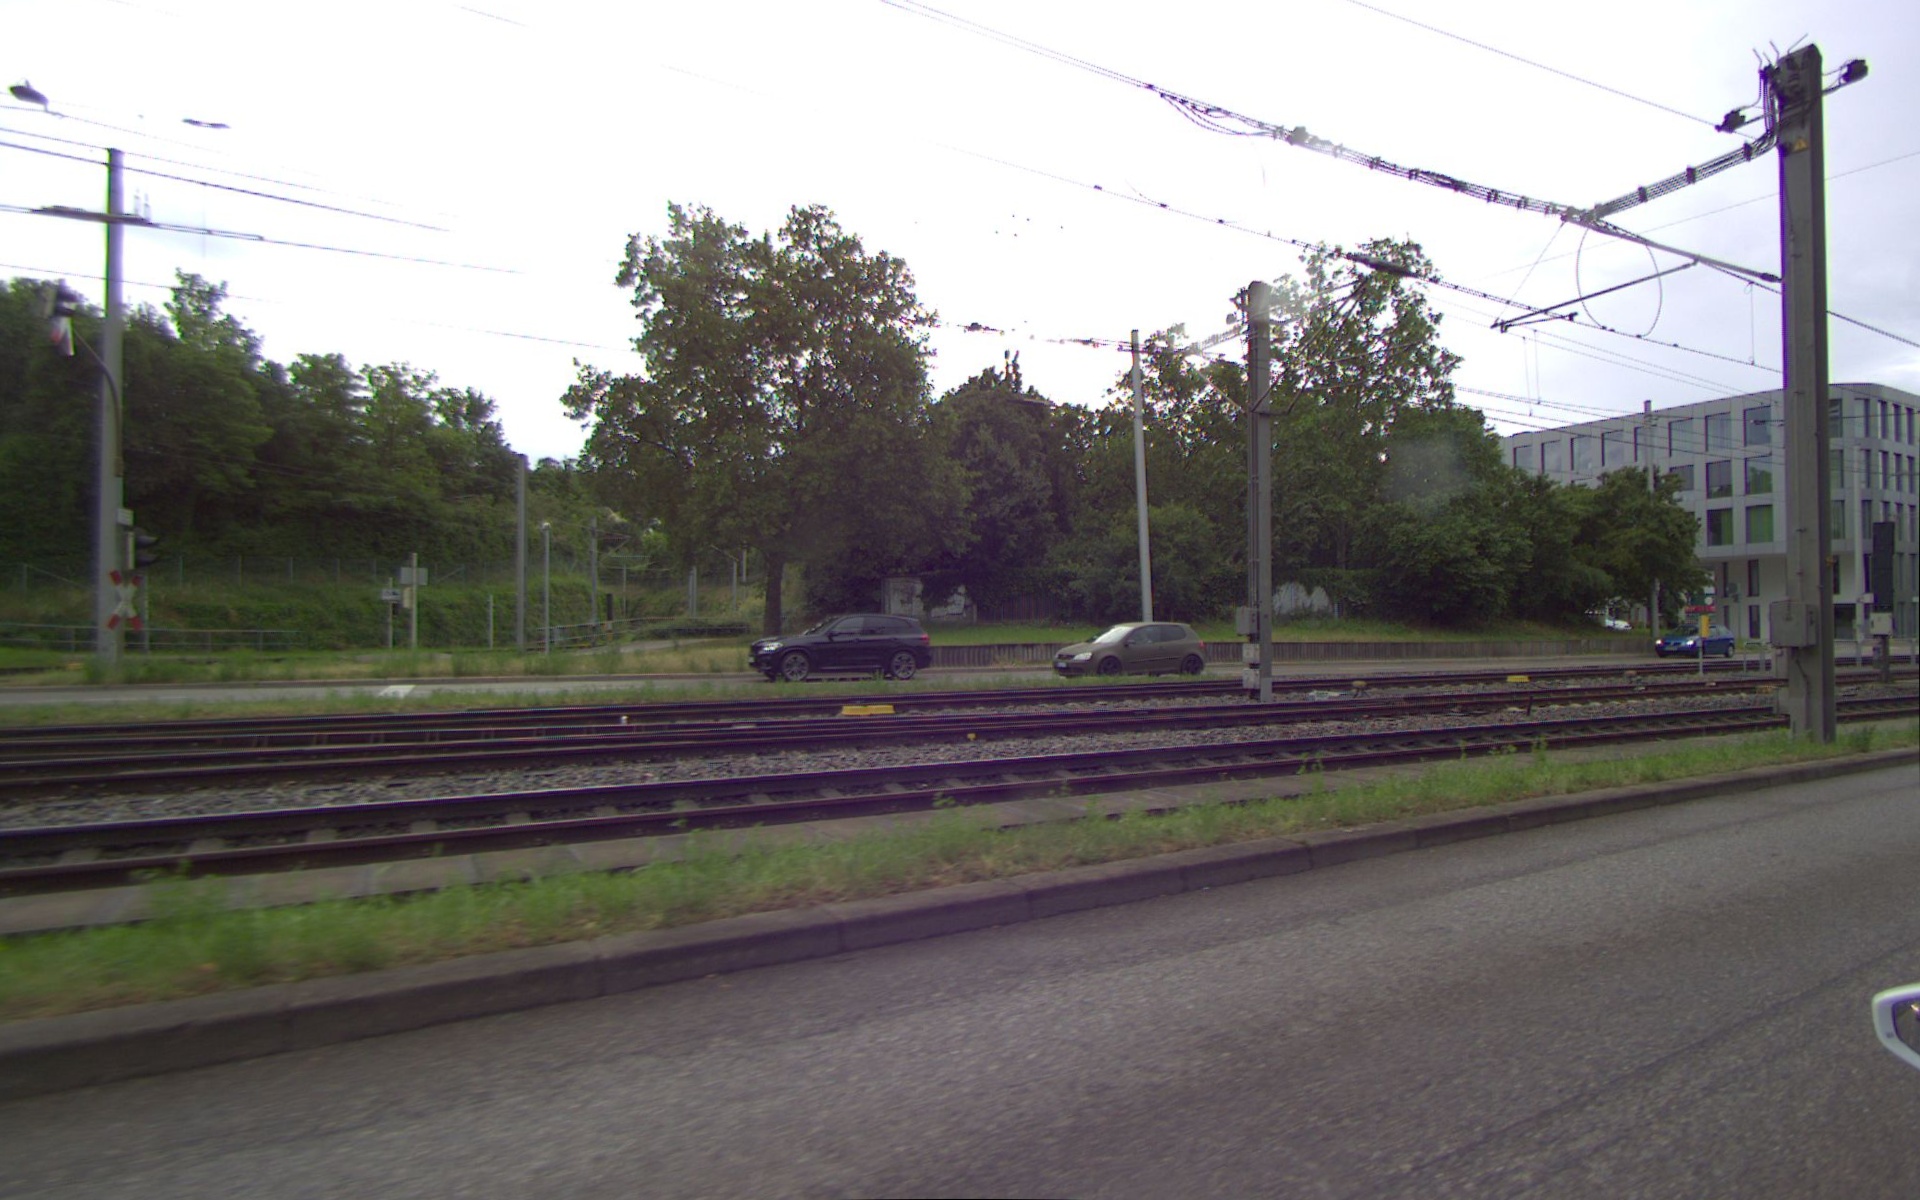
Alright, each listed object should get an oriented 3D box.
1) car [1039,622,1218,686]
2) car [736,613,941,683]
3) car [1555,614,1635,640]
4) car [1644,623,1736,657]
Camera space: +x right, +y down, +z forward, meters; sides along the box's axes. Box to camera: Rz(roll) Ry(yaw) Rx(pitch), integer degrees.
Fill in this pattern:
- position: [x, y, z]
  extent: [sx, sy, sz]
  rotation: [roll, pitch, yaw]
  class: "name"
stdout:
- position: [4.308, 1.331, 25.657]
  extent: [4.253, 1.506, 1.884]
  rotation: [1, -2, -28]
  class: "car"
- position: [-3.033, 1.174, 25.349]
  extent: [4.788, 1.616, 1.939]
  rotation: [1, -2, -29]
  class: "car"
- position: [40.747, 1.713, 64.537]
  extent: [1.904, 1.472, 3.898]
  rotation: [1, 1, -32]
  class: "car"
- position: [31.877, 1.739, 43.858]
  extent: [3.851, 1.416, 1.754]
  rotation: [1, -2, -28]
  class: "car"
